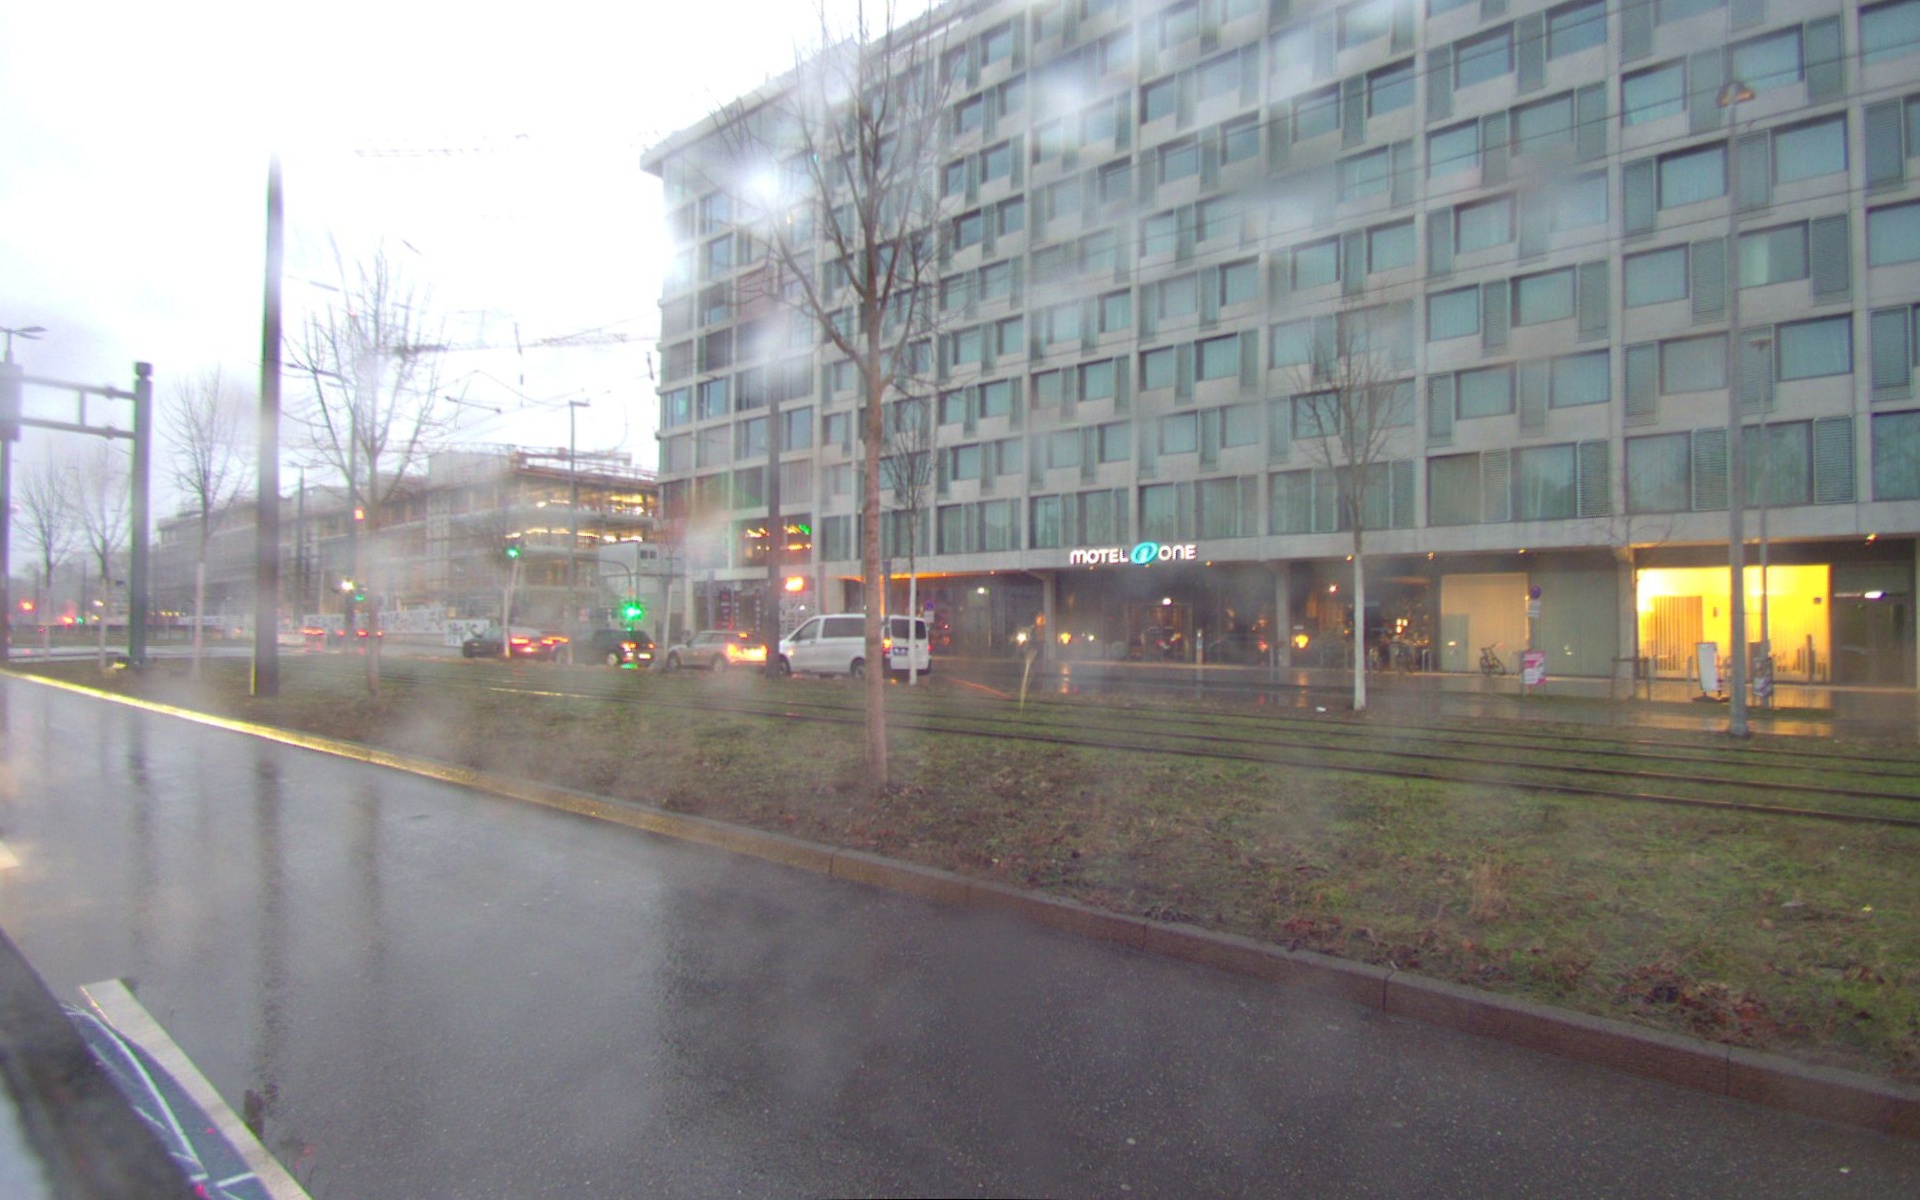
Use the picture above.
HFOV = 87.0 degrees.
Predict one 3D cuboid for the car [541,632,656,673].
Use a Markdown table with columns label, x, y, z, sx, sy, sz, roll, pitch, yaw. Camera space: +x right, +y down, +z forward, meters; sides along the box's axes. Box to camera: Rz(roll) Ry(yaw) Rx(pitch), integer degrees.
| label | x | y | z | sx | sy | sz | roll | pitch | yaw |
| --- | --- | --- | --- | --- | --- | --- | --- | --- | --- |
| car | -13.247 | 1.866 | 37.012 | 4.254 | 1.411 | 2.084 | -1 | -3 | 40 |

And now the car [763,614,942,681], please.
| label | x | y | z | sx | sy | sz | roll | pitch | yaw |
| --- | --- | --- | --- | --- | --- | --- | --- | --- | --- |
| car | -3.043 | 1.279 | 27.905 | 5.041 | 1.682 | 2.060 | -1 | -3 | 41 |

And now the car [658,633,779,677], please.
| label | x | y | z | sx | sy | sz | roll | pitch | yaw |
| --- | --- | --- | --- | --- | --- | --- | --- | --- | --- |
| car | -7.757 | 1.722 | 32.412 | 3.998 | 1.317 | 1.793 | -1 | -3 | 41 |

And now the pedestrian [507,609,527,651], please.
| label | x | y | z | sx | sy | sz | roll | pitch | yaw |
| --- | --- | --- | --- | --- | --- | --- | --- | --- | --- |
| pedestrian | -19.767 | 1.319 | 45.157 | 0.698 | 1.818 | 0.772 | -1 | 0 | -35 |

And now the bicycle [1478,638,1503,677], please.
| label | x | y | z | sx | sy | sz | roll | pitch | yaw |
| --- | --- | --- | --- | --- | --- | --- | --- | --- | --- |
| bicycle | 18.075 | 1.933 | 34.453 | 0.465 | 1.247 | 1.520 | -1 | 0 | 39 |

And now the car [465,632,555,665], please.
| label | x | y | z | sx | sy | sz | roll | pitch | yaw |
| --- | --- | --- | --- | --- | --- | --- | --- | --- | --- |
| car | -18.359 | 1.946 | 41.254 | 3.997 | 1.284 | 1.793 | -1 | -3 | 40 |

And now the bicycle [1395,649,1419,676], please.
| label | x | y | z | sx | sy | sz | roll | pitch | yaw |
| --- | --- | --- | --- | --- | --- | --- | --- | --- | --- |
| bicycle | 15.811 | 2.196 | 35.783 | 0.465 | 0.860 | 1.332 | -1 | 0 | 39 |
